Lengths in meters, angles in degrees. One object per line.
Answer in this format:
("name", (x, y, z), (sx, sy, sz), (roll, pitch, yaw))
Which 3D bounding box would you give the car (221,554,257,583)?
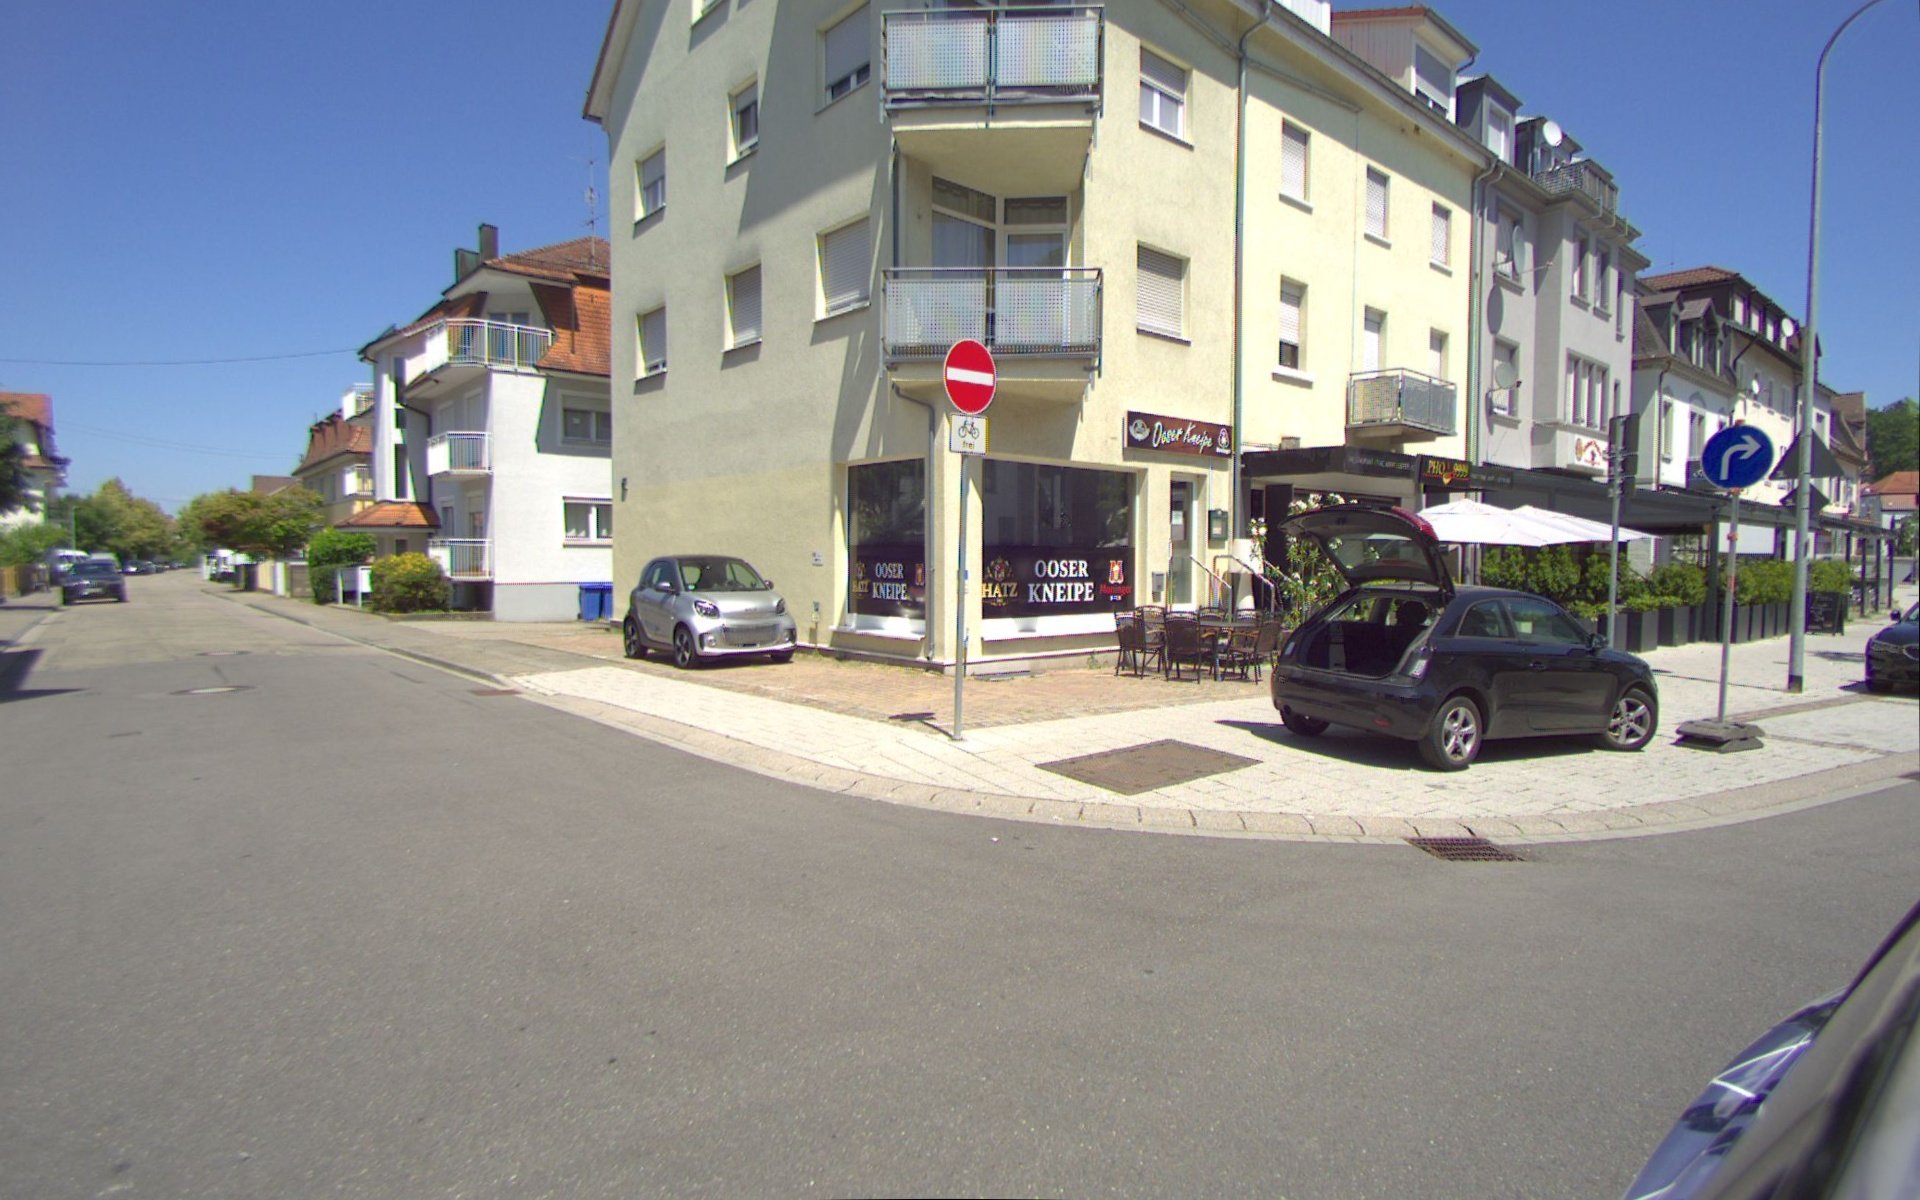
("car", (-51.626, -2.269, 72.433), (1.963, 2.038, 3.998), (-1, 2, -37))

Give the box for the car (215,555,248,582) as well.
("car", (-56.289, -2.431, 78.175), (1.963, 2.038, 3.998), (-1, 2, -37))

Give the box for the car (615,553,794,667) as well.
("car", (-3.776, 0.085, 14.760), (1.503, 1.489, 2.733), (-2, 2, -39))

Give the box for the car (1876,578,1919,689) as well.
("car", (14.603, 0.437, 14.123), (4.522, 1.422, 1.730), (-1, 4, -35))

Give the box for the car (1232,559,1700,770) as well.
("car", (4.573, 0.452, 9.136), (3.783, 1.509, 1.882), (0, 3, -28))

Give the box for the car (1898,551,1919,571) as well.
("car", (71.901, -2.909, 75.604), (1.722, 1.490, 4.277), (4, 4, 31))

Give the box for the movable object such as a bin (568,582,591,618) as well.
("movable object such as a bin", (-11.194, 0.001, 29.774), (0.503, 1.024, 0.461), (1, 1, -43))

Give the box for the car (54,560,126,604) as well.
("car", (-34.298, -0.754, 39.990), (1.964, 1.638, 3.997), (-1, 2, -38))

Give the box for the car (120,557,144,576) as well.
("car", (-90.470, -3.663, 110.615), (1.964, 2.038, 3.998), (-1, 2, -38))

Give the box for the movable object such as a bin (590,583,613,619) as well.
("movable object such as a bin", (-10.640, 0.030, 30.035), (0.509, 1.024, 0.461), (1, 1, -43))
